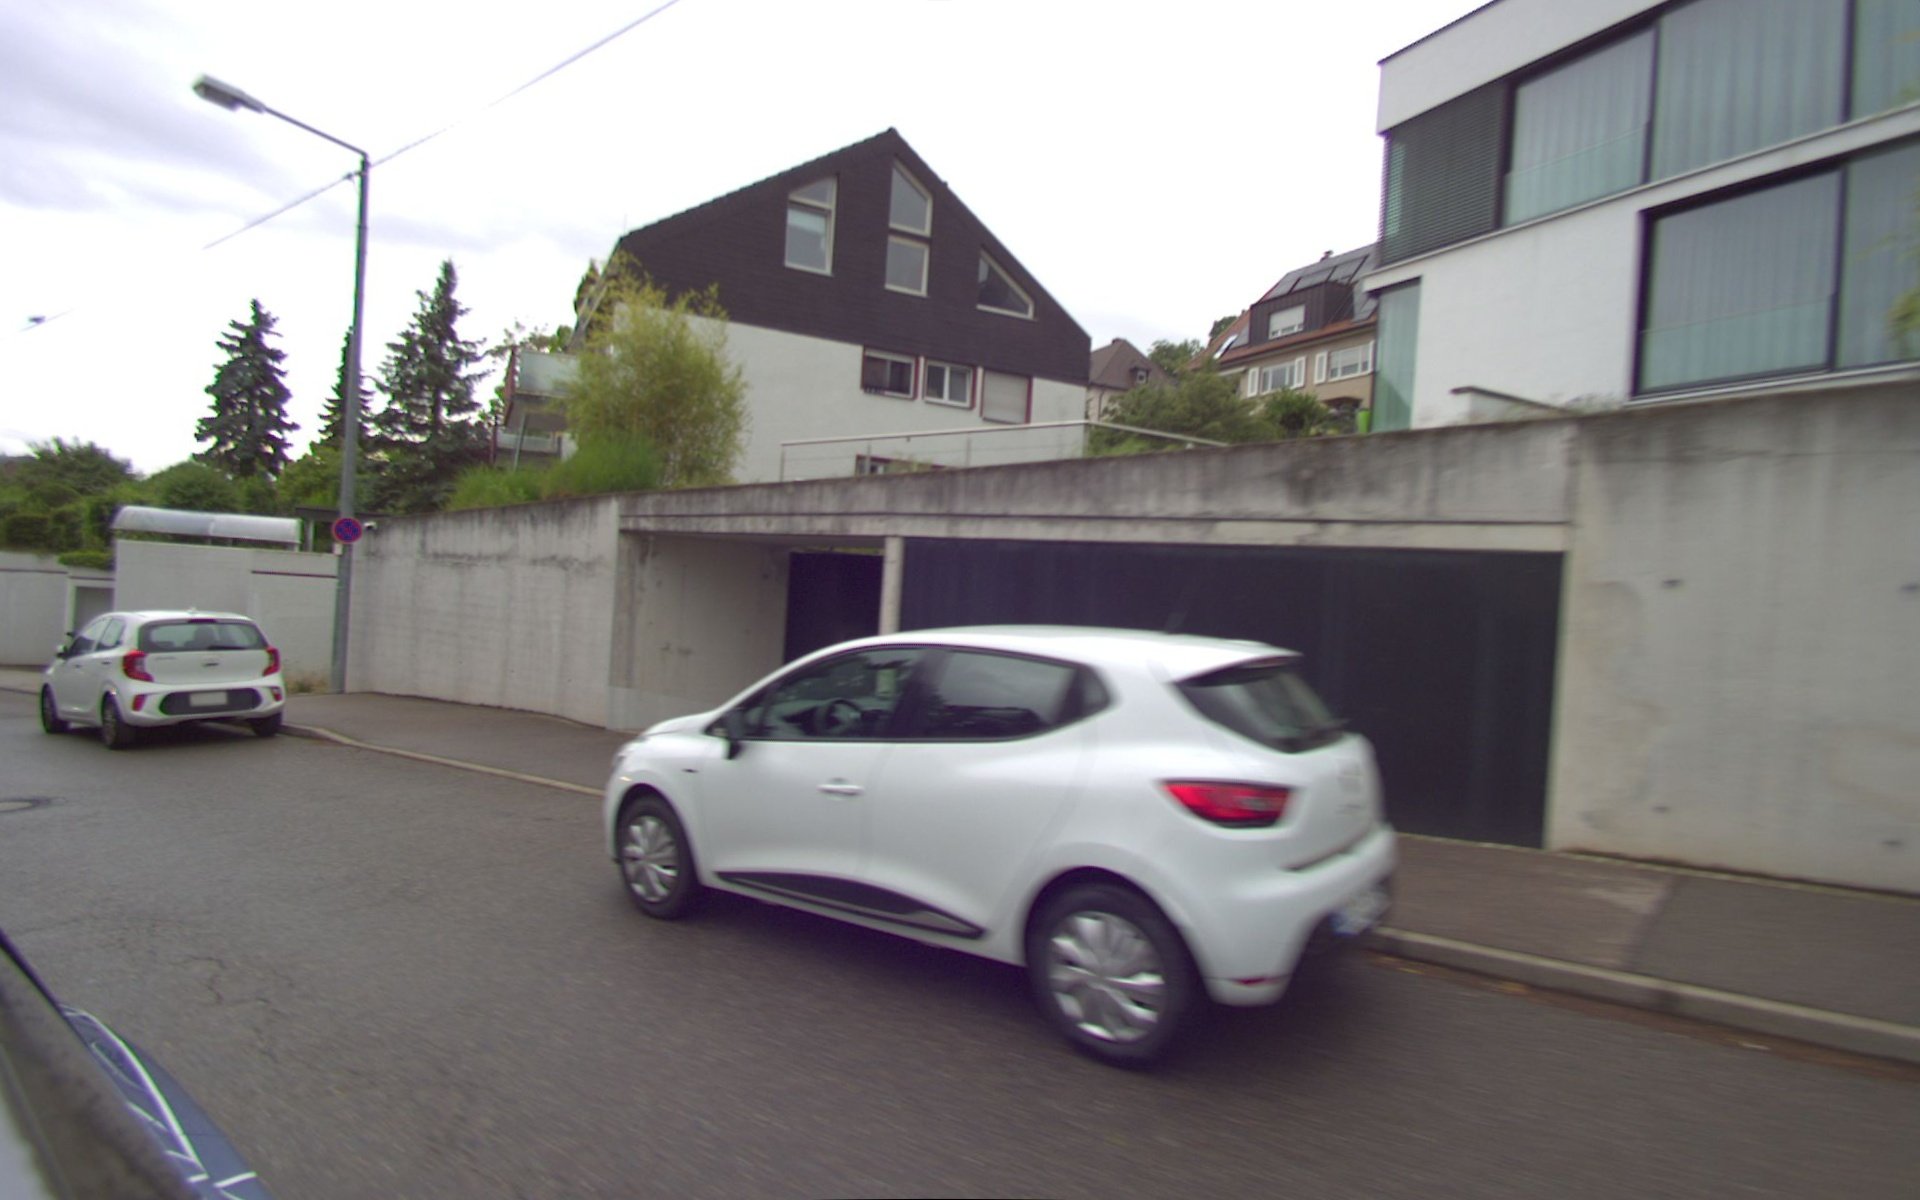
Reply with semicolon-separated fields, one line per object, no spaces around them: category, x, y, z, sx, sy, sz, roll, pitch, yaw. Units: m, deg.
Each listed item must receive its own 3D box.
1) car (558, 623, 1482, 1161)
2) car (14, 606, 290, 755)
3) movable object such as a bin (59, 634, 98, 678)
car;0.027;0.848;4.751;4.035;1.451;1.814;-1;-2;39
car;-9.780;0.881;12.177;3.824;1.527;1.612;-1;-2;36
movable object such as a bin;-19.822;1.250;22.762;0.535;0.970;0.648;0;-1;-29
